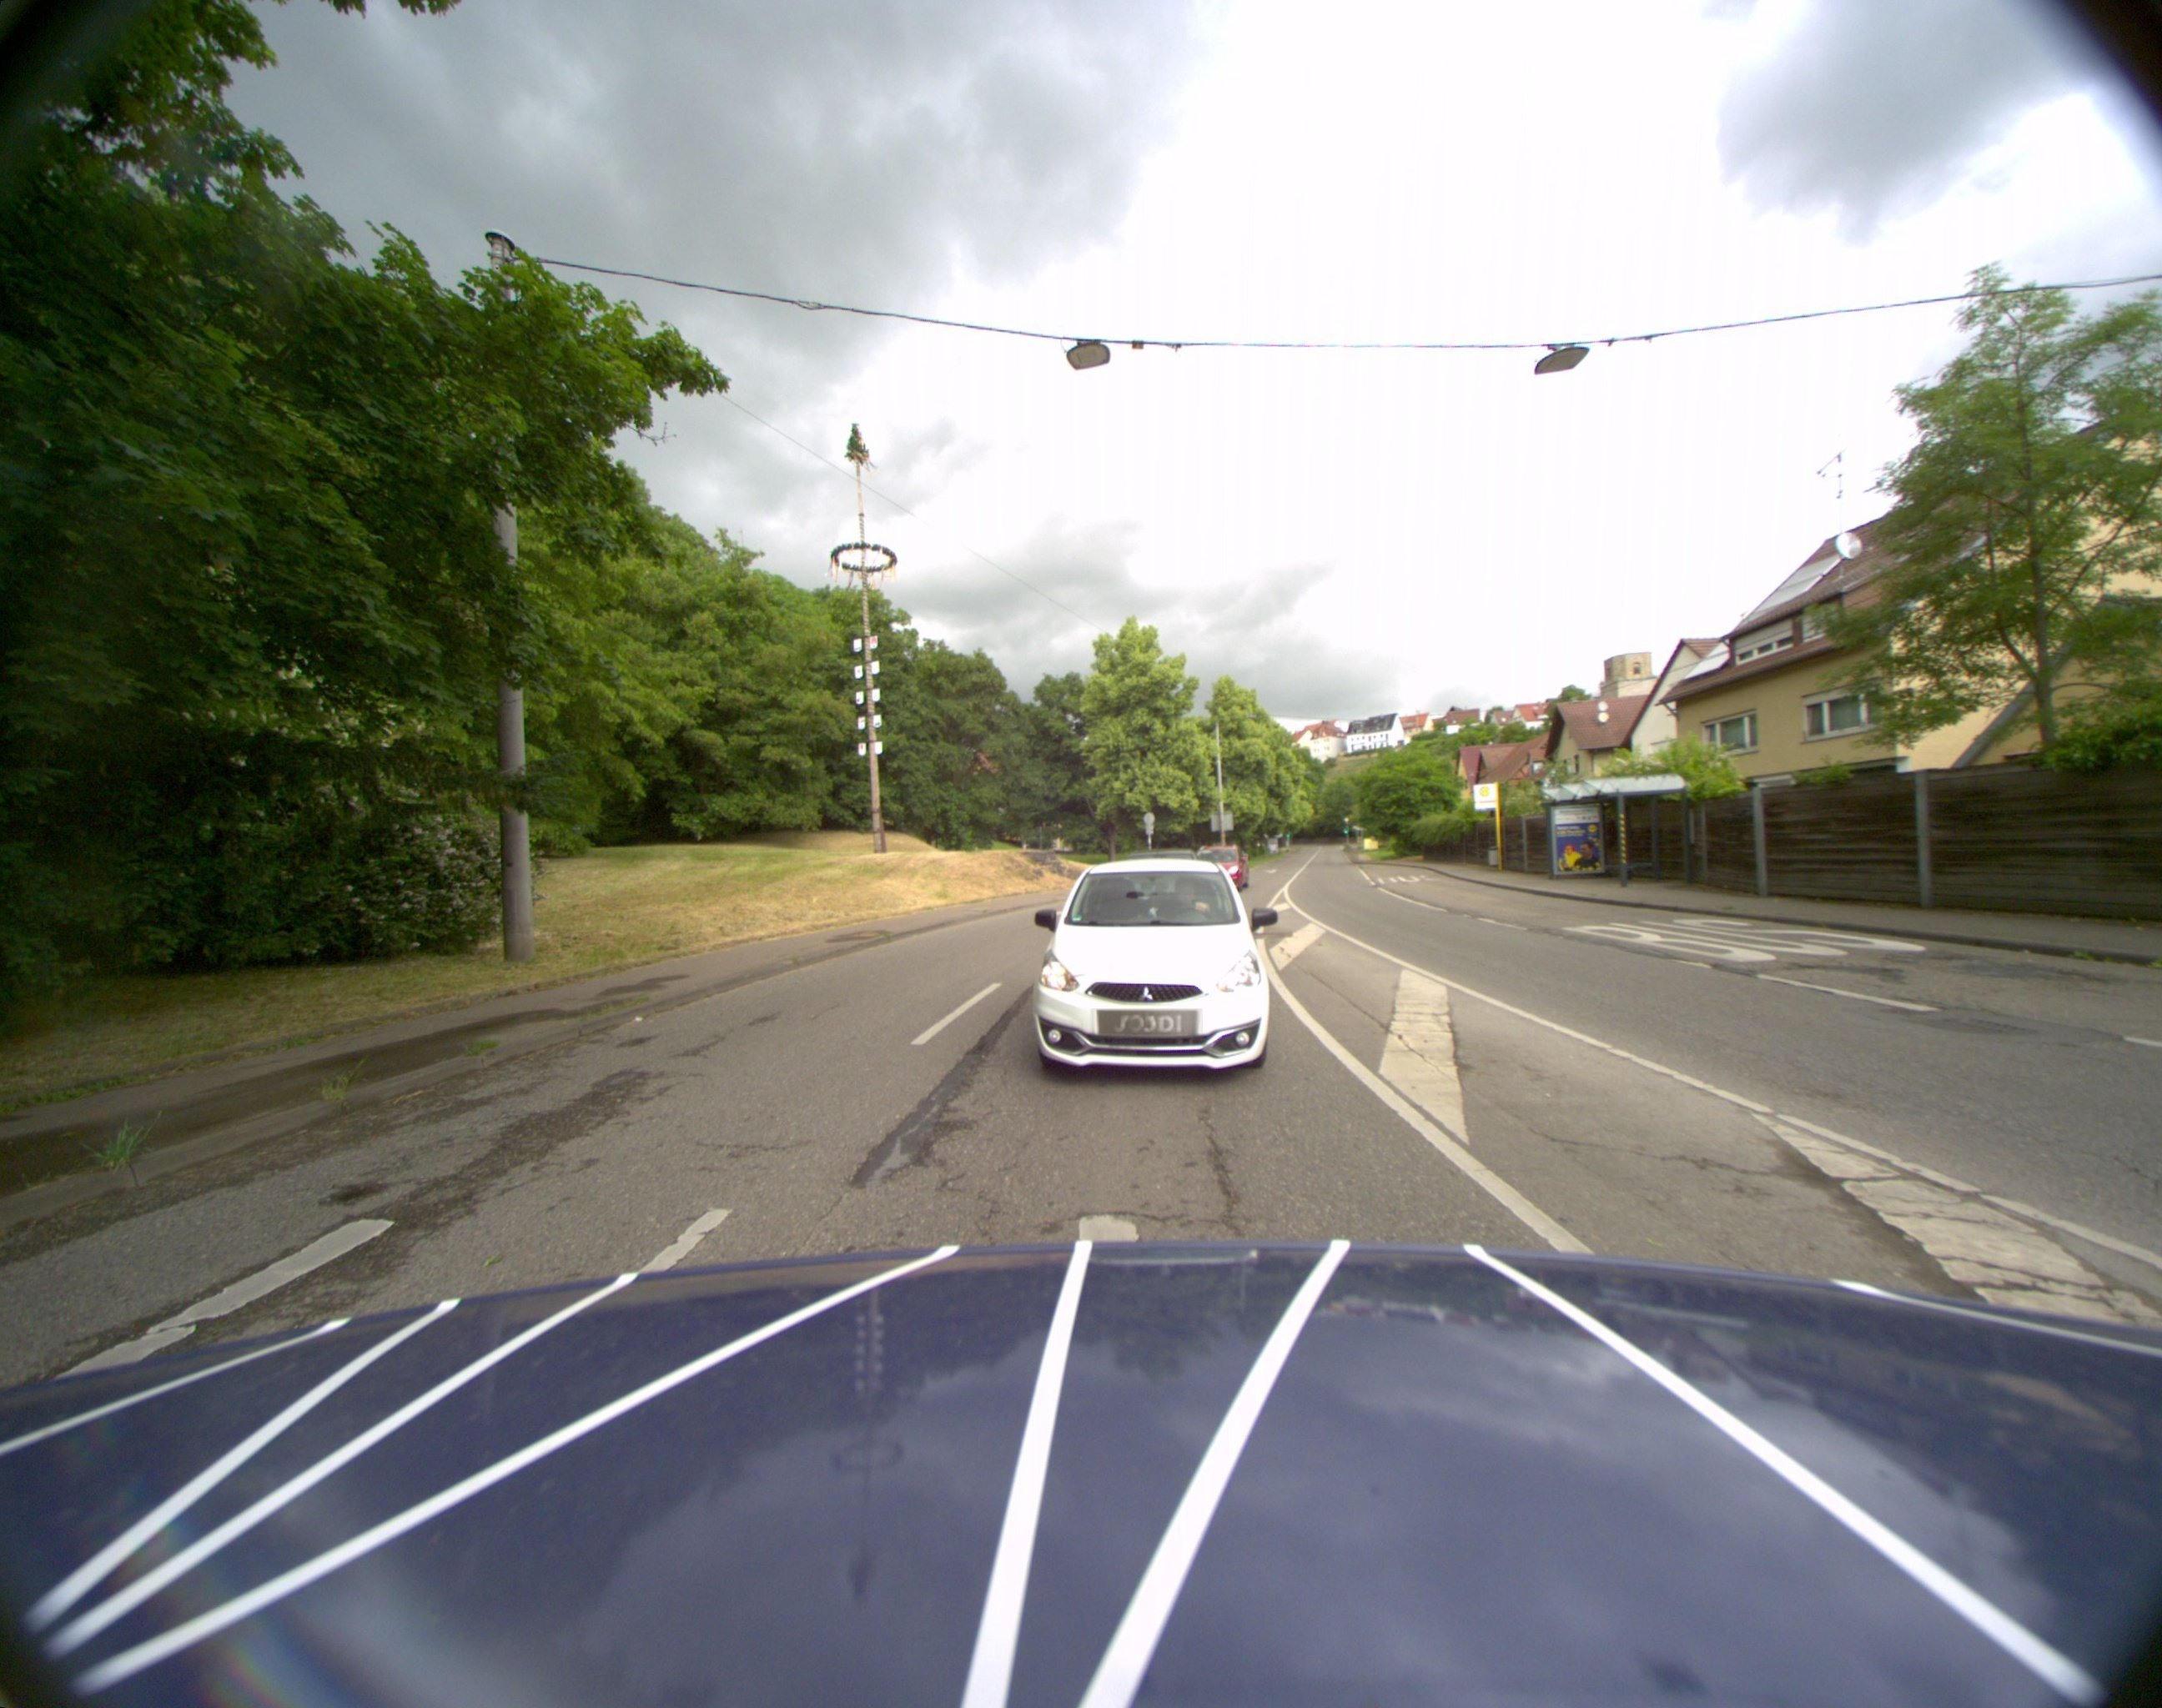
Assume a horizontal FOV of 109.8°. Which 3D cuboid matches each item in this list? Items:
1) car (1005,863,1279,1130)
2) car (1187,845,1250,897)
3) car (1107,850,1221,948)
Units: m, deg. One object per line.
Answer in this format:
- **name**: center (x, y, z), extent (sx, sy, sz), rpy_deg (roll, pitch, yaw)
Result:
- **car**: center (0.633, 0.905, 6.433), extent (1.617, 1.505, 3.607), rpy_deg (-2, 1, 9)
- **car**: center (5.056, 0.544, 27.539), extent (1.826, 1.662, 4.062), rpy_deg (-2, 1, 16)
- **car**: center (1.716, 0.760, 14.511), extent (1.723, 1.539, 3.785), rpy_deg (-2, 1, 12)
